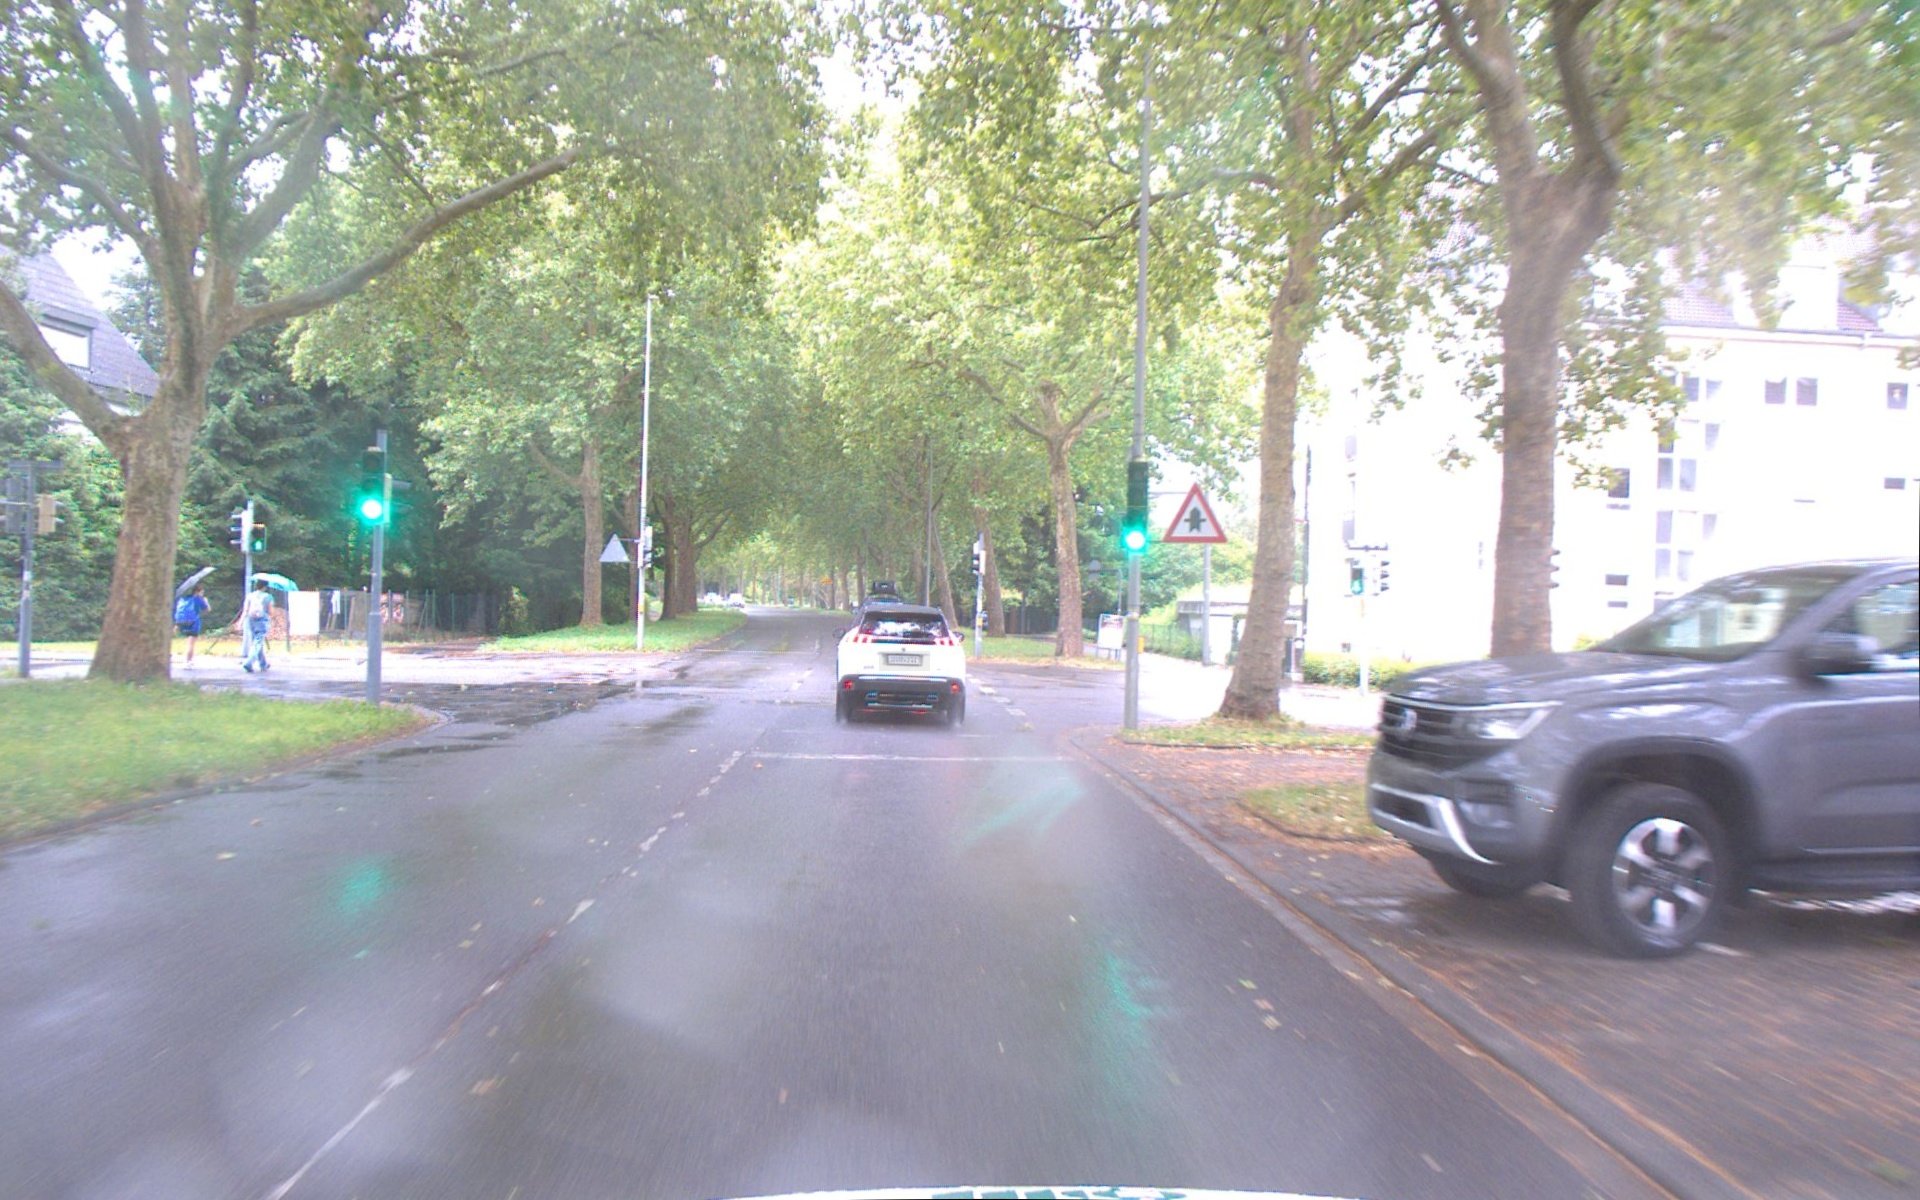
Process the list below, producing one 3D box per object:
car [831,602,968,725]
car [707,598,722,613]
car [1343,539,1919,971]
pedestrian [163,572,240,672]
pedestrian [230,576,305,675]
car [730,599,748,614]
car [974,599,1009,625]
[{"bbox_3d":[-0.797,0.826,23.349,1.744,1.563,4.056,1,0,-1],"label":"car"},{"bbox_3d":[-33.527,0.760,225.906,1.708,2.049,3.660,2,0,-6],"label":"car"},{"bbox_3d":[4.768,0.646,8.312,5.237,1.838,1.842,0,0,-8],"label":"car"},{"bbox_3d":[-14.027,0.401,30.609,1.012,1.796,0.879,1,0,-1],"label":"pedestrian"},{"bbox_3d":[-12.814,0.456,30.629,1.012,1.796,0.838,1,0,-1],"label":"pedestrian"},{"bbox_3d":[-24.998,0.749,187.157,1.837,1.706,3.705,1,0,-4],"label":"car"},{"bbox_3d":[1.951,0.753,103.647,1.868,1.536,3.928,1,0,-4],"label":"car"}]
